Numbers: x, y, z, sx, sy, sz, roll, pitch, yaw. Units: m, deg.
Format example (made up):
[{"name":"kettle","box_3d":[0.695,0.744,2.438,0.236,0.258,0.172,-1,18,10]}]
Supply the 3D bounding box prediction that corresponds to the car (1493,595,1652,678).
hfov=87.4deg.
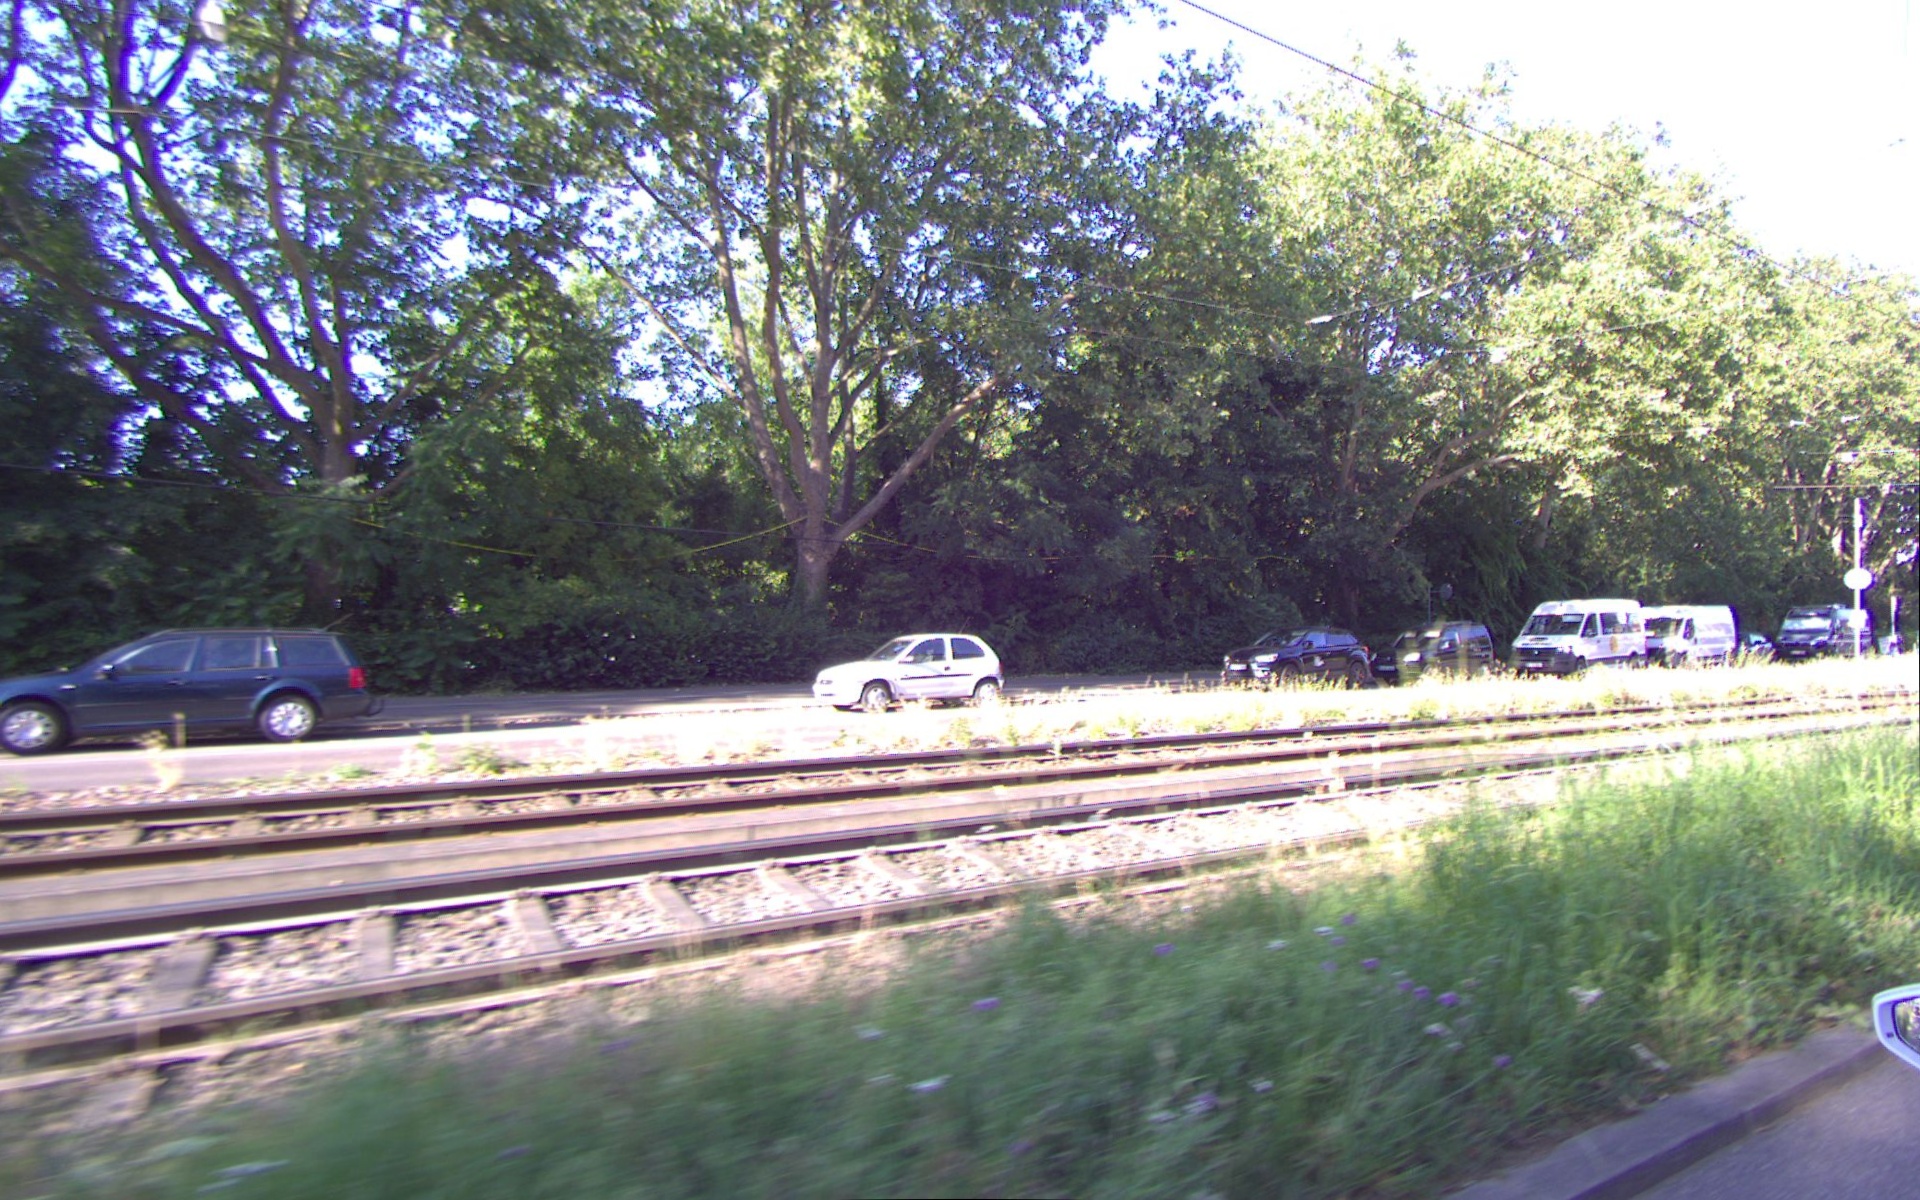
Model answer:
[{"name":"car","box_3d":[20.450,1.251,33.441,5.987,2.553,2.171,2,-3,-34]}]

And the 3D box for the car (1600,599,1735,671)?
[{"name":"car","box_3d":[26.771,1.348,37.944,6.209,2.553,2.170,2,-3,-35]}]

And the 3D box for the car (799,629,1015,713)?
[{"name":"car","box_3d":[-0.979,1.316,19.294,3.812,1.455,1.729,2,-3,-34]}]

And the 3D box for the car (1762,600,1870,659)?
[{"name":"car","box_3d":[39.251,1.381,46.033,5.969,2.553,2.171,2,-3,-33]}]

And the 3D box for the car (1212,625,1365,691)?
[{"name":"car","box_3d":[8.416,1.452,25.634,3.841,1.575,1.729,2,-3,-34]}]

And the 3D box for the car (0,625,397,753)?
[{"name":"car","box_3d":[-9.915,1.090,13.191,4.279,1.455,1.816,2,-3,-34]}]

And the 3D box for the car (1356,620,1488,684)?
[{"name":"car","box_3d":[13.397,1.494,29.081,3.841,1.750,1.729,2,-3,-34]}]

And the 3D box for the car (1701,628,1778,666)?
[{"name":"car","box_3d":[32.438,1.944,41.782,3.233,1.532,1.641,2,-3,-35]}]
